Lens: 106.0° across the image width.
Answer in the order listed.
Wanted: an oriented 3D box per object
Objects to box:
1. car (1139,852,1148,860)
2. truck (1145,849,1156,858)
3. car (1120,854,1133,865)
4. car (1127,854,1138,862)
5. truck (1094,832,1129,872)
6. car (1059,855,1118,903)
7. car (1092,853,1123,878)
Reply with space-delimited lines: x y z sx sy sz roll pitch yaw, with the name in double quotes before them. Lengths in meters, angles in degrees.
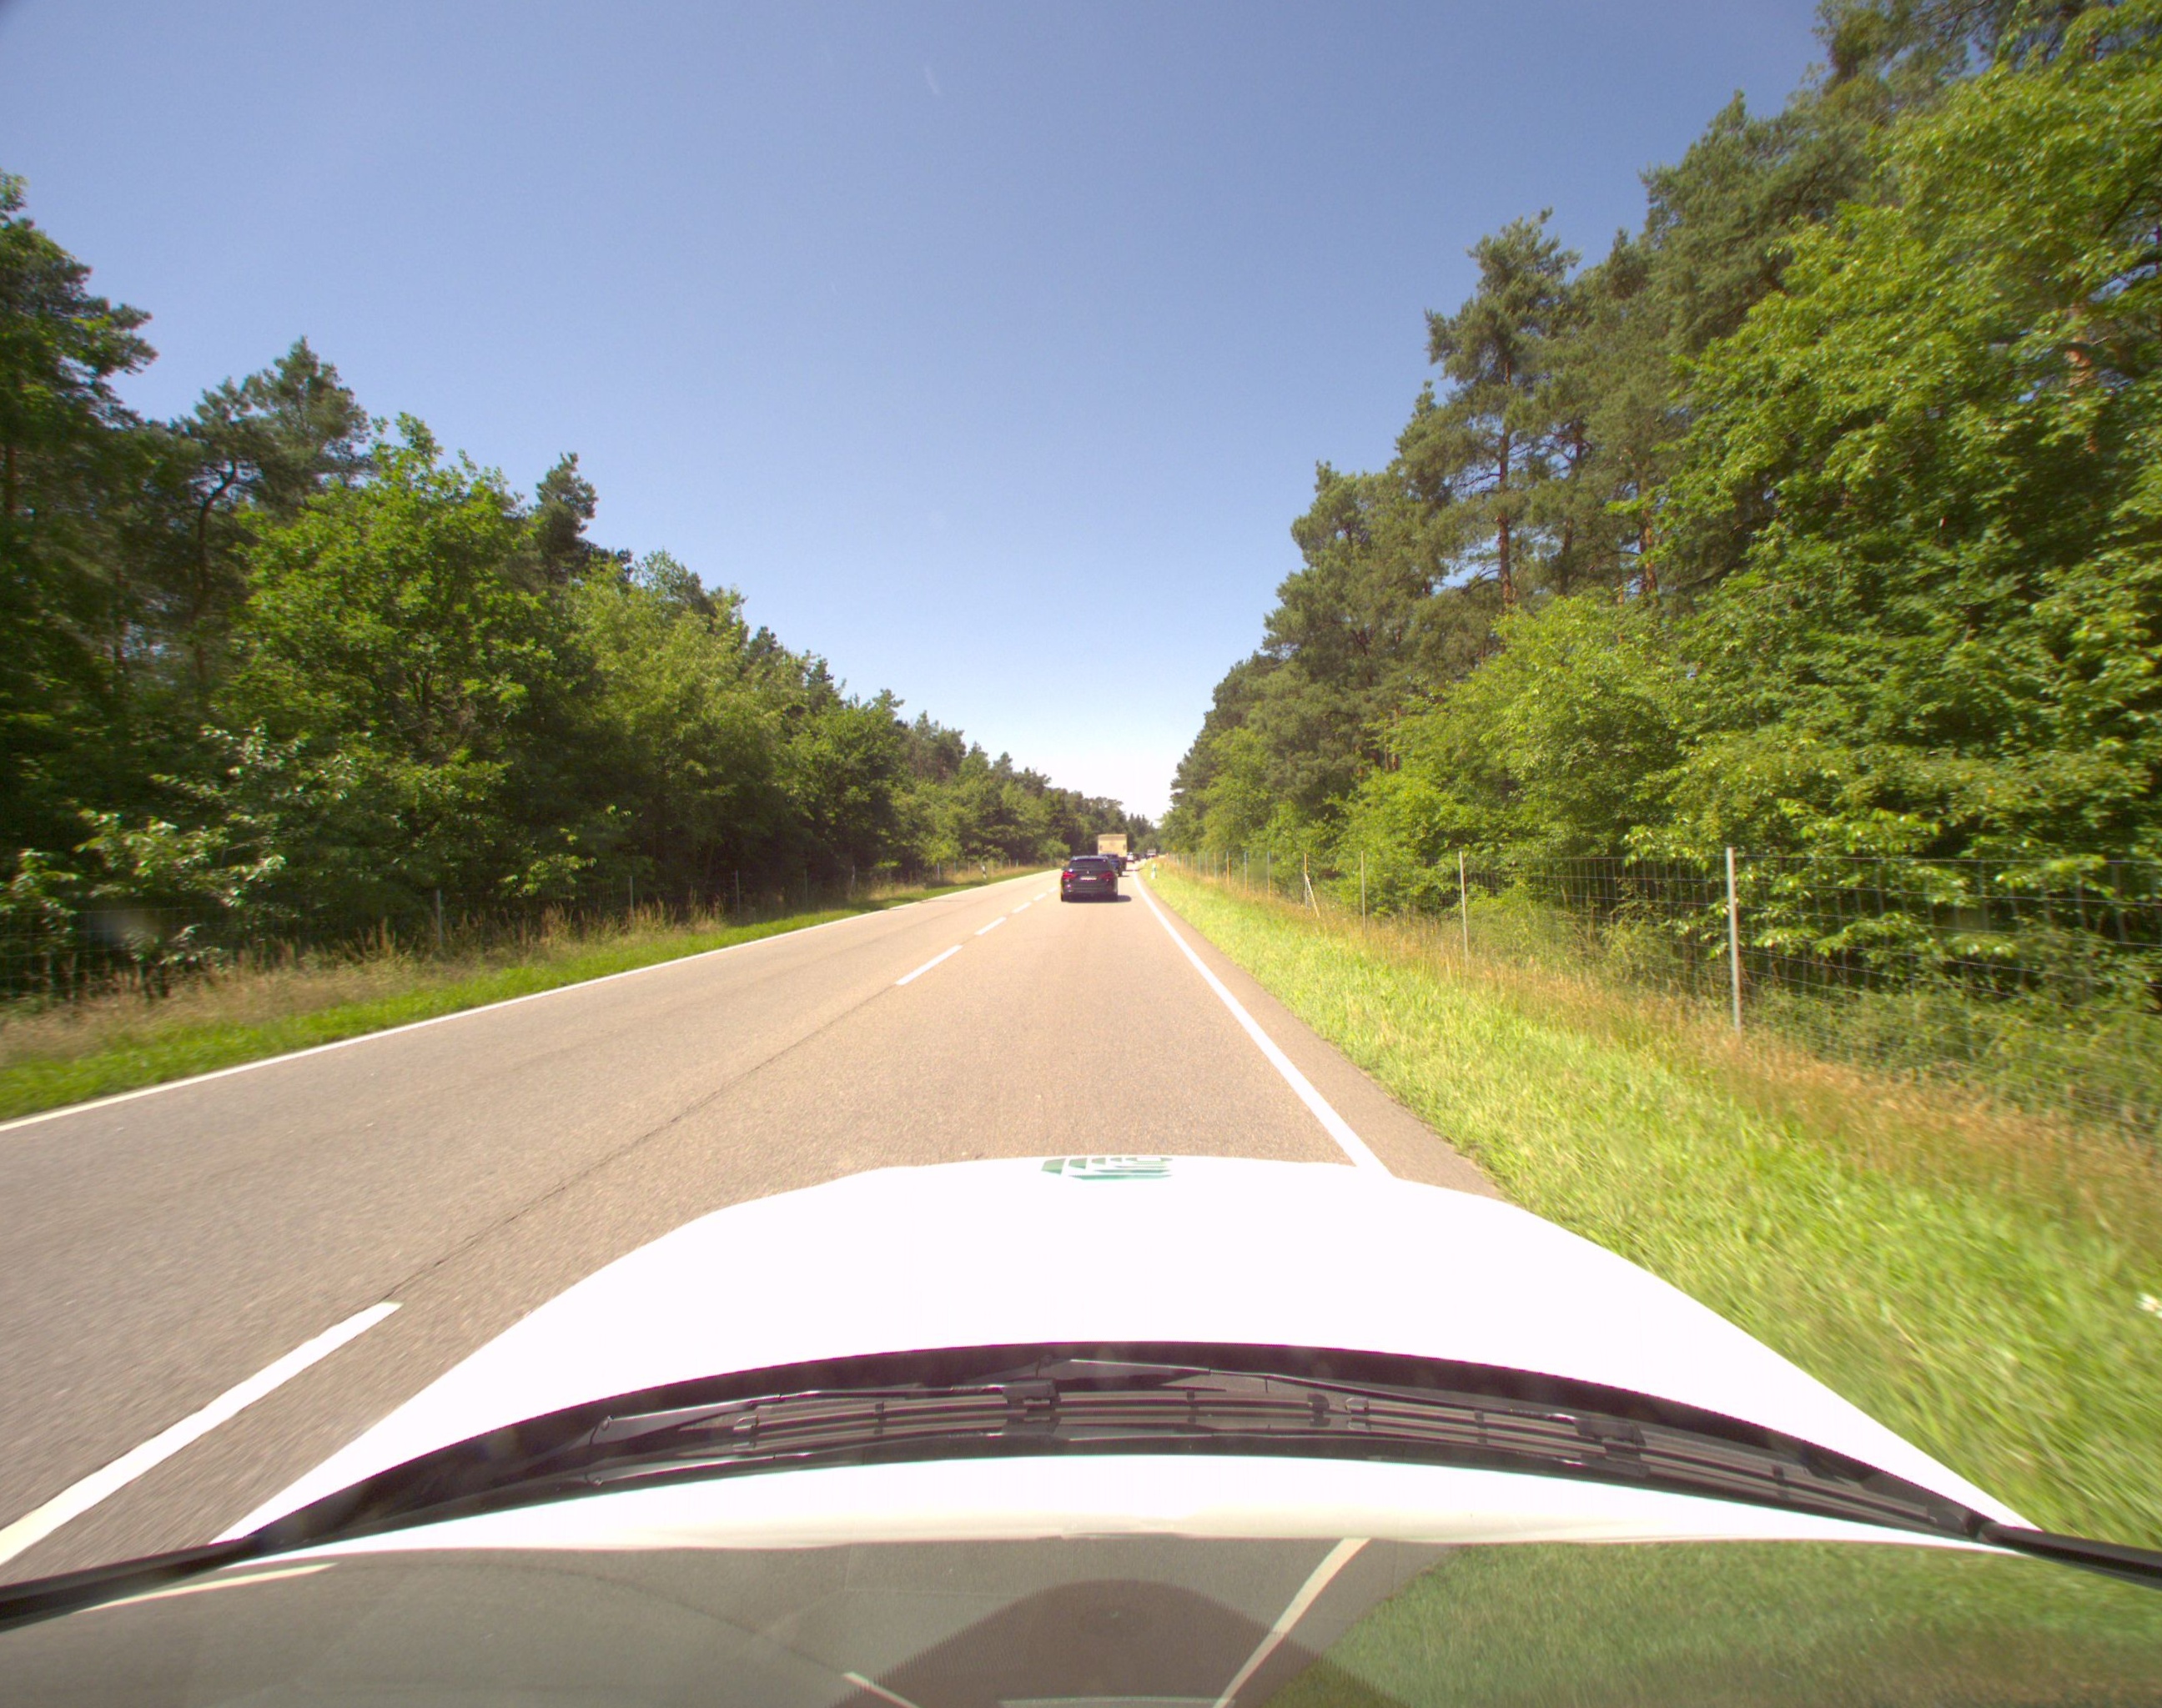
"car" 14.517 0.417 188.668 1.984 1.636 4.006 -2 0 5
"truck" 18.245 -0.077 212.523 2.549 2.202 4.985 -2 0 8
"car" 6.989 0.782 124.924 1.856 1.605 4.002 -2 0 2
"car" 9.600 0.759 152.640 1.986 1.420 4.002 -1 0 2
"truck" 2.684 -0.201 74.073 2.955 3.387 6.438 -2 0 1
"car" 0.250 0.778 27.280 1.814 1.470 4.000 0 0 0
"car" 1.808 0.735 55.092 1.940 1.542 4.002 -2 0 2
